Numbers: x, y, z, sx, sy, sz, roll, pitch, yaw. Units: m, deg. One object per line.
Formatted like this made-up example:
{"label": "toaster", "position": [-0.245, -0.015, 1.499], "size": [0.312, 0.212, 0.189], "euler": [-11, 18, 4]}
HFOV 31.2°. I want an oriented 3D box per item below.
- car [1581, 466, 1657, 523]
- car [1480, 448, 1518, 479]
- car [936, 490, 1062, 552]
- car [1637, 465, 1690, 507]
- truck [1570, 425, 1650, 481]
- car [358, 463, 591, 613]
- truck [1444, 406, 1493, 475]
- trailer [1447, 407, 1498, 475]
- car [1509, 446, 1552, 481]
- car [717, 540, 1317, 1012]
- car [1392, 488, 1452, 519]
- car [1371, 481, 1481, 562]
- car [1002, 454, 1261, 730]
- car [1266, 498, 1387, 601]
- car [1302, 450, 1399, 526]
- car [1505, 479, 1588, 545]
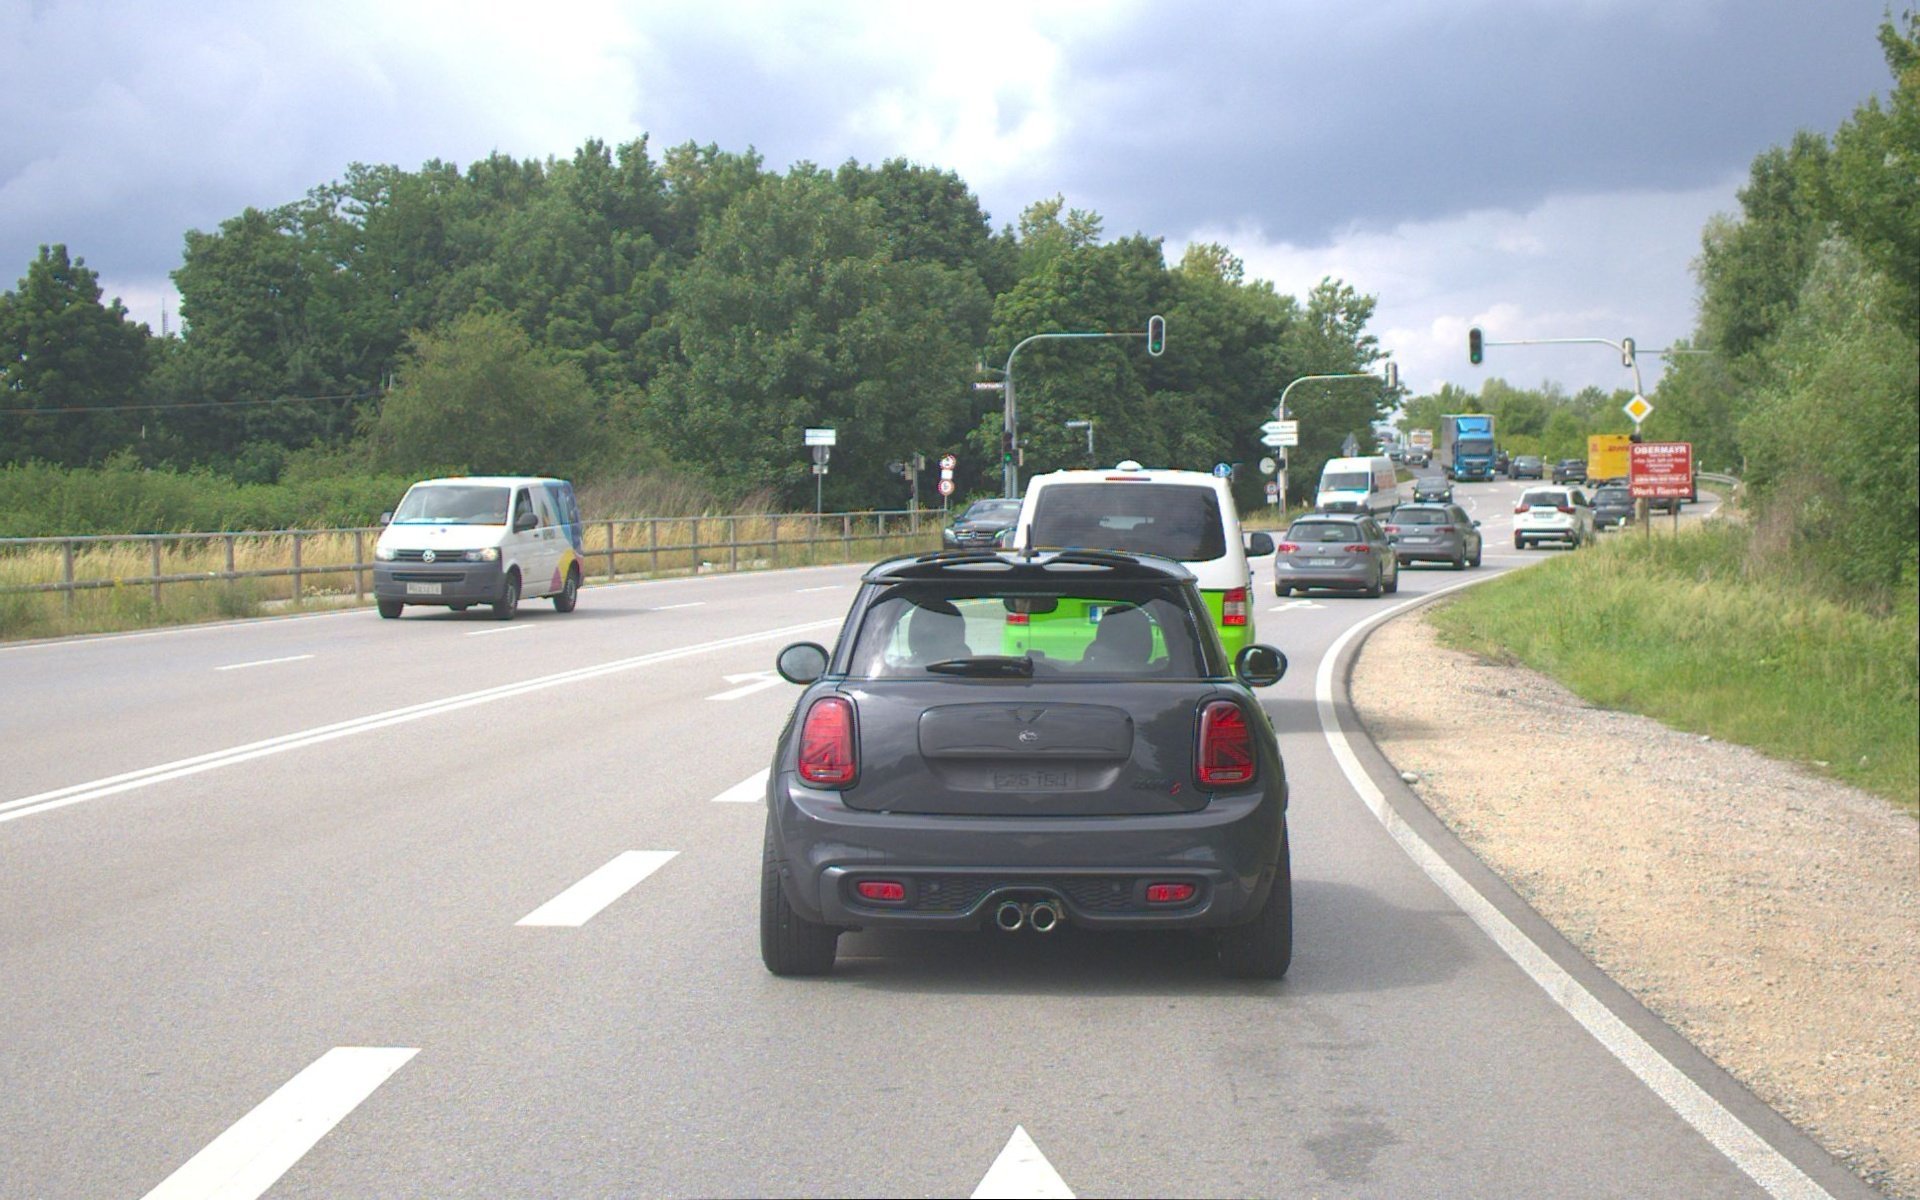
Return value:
{"label": "car", "position": [21.029, -3.336, 109.602], "size": [1.995, 1.678, 3.997], "euler": [2, 1, 15]}
{"label": "car", "position": [36.688, -9.284, 234.043], "size": [1.993, 2.007, 4.000], "euler": [1, 1, 1]}
{"label": "car", "position": [0.968, -1.904, 82.485], "size": [1.810, 1.436, 4.350], "euler": [1, 2, 18]}
{"label": "car", "position": [29.519, -4.789, 144.306], "size": [1.994, 1.690, 4.484], "euler": [1, 2, 10]}
{"label": "truck", "position": [34.544, -7.779, 182.953], "size": [2.717, 2.887, 8.771], "euler": [0, 2, 1]}
{"label": "car", "position": [-6.790, -0.894, 48.570], "size": [1.994, 2.007, 4.666], "euler": [1, 1, 9]}
{"label": "truck", "position": [30.723, -9.616, 207.631], "size": [2.541, 4.082, 3.998], "euler": [0, 2, 13]}
{"label": "trailer", "position": [31.456, -9.737, 210.871], "size": [2.529, 4.086, 6.732], "euler": [0, 2, 13]}
{"label": "car", "position": [35.726, -8.541, 215.319], "size": [2.181, 2.007, 4.000], "euler": [1, 1, 2]}
{"label": "car", "position": [0.275, 0.509, 12.589], "size": [1.845, 1.423, 3.841], "euler": [1, 1, 3]}
{"label": "car", "position": [21.933, -4.575, 162.975], "size": [1.948, 1.436, 3.996], "euler": [1, 2, 21]}
{"label": "car", "position": [10.411, -1.727, 76.606], "size": [1.995, 1.678, 3.975], "euler": [2, 1, 14]}
{"label": "car", "position": [1.333, -0.099, 26.863], "size": [1.845, 1.980, 3.841], "euler": [1, 1, 3]}
{"label": "car", "position": [6.407, -0.867, 60.015], "size": [1.994, 1.678, 3.999], "euler": [2, 1, 7]}
{"label": "car", "position": [14.241, -4.068, 125.083], "size": [2.435, 2.665, 6.883], "euler": [1, 2, 16]}
{"label": "car", "position": [15.986, -2.389, 93.558], "size": [1.995, 1.678, 3.998], "euler": [2, 1, 13]}
